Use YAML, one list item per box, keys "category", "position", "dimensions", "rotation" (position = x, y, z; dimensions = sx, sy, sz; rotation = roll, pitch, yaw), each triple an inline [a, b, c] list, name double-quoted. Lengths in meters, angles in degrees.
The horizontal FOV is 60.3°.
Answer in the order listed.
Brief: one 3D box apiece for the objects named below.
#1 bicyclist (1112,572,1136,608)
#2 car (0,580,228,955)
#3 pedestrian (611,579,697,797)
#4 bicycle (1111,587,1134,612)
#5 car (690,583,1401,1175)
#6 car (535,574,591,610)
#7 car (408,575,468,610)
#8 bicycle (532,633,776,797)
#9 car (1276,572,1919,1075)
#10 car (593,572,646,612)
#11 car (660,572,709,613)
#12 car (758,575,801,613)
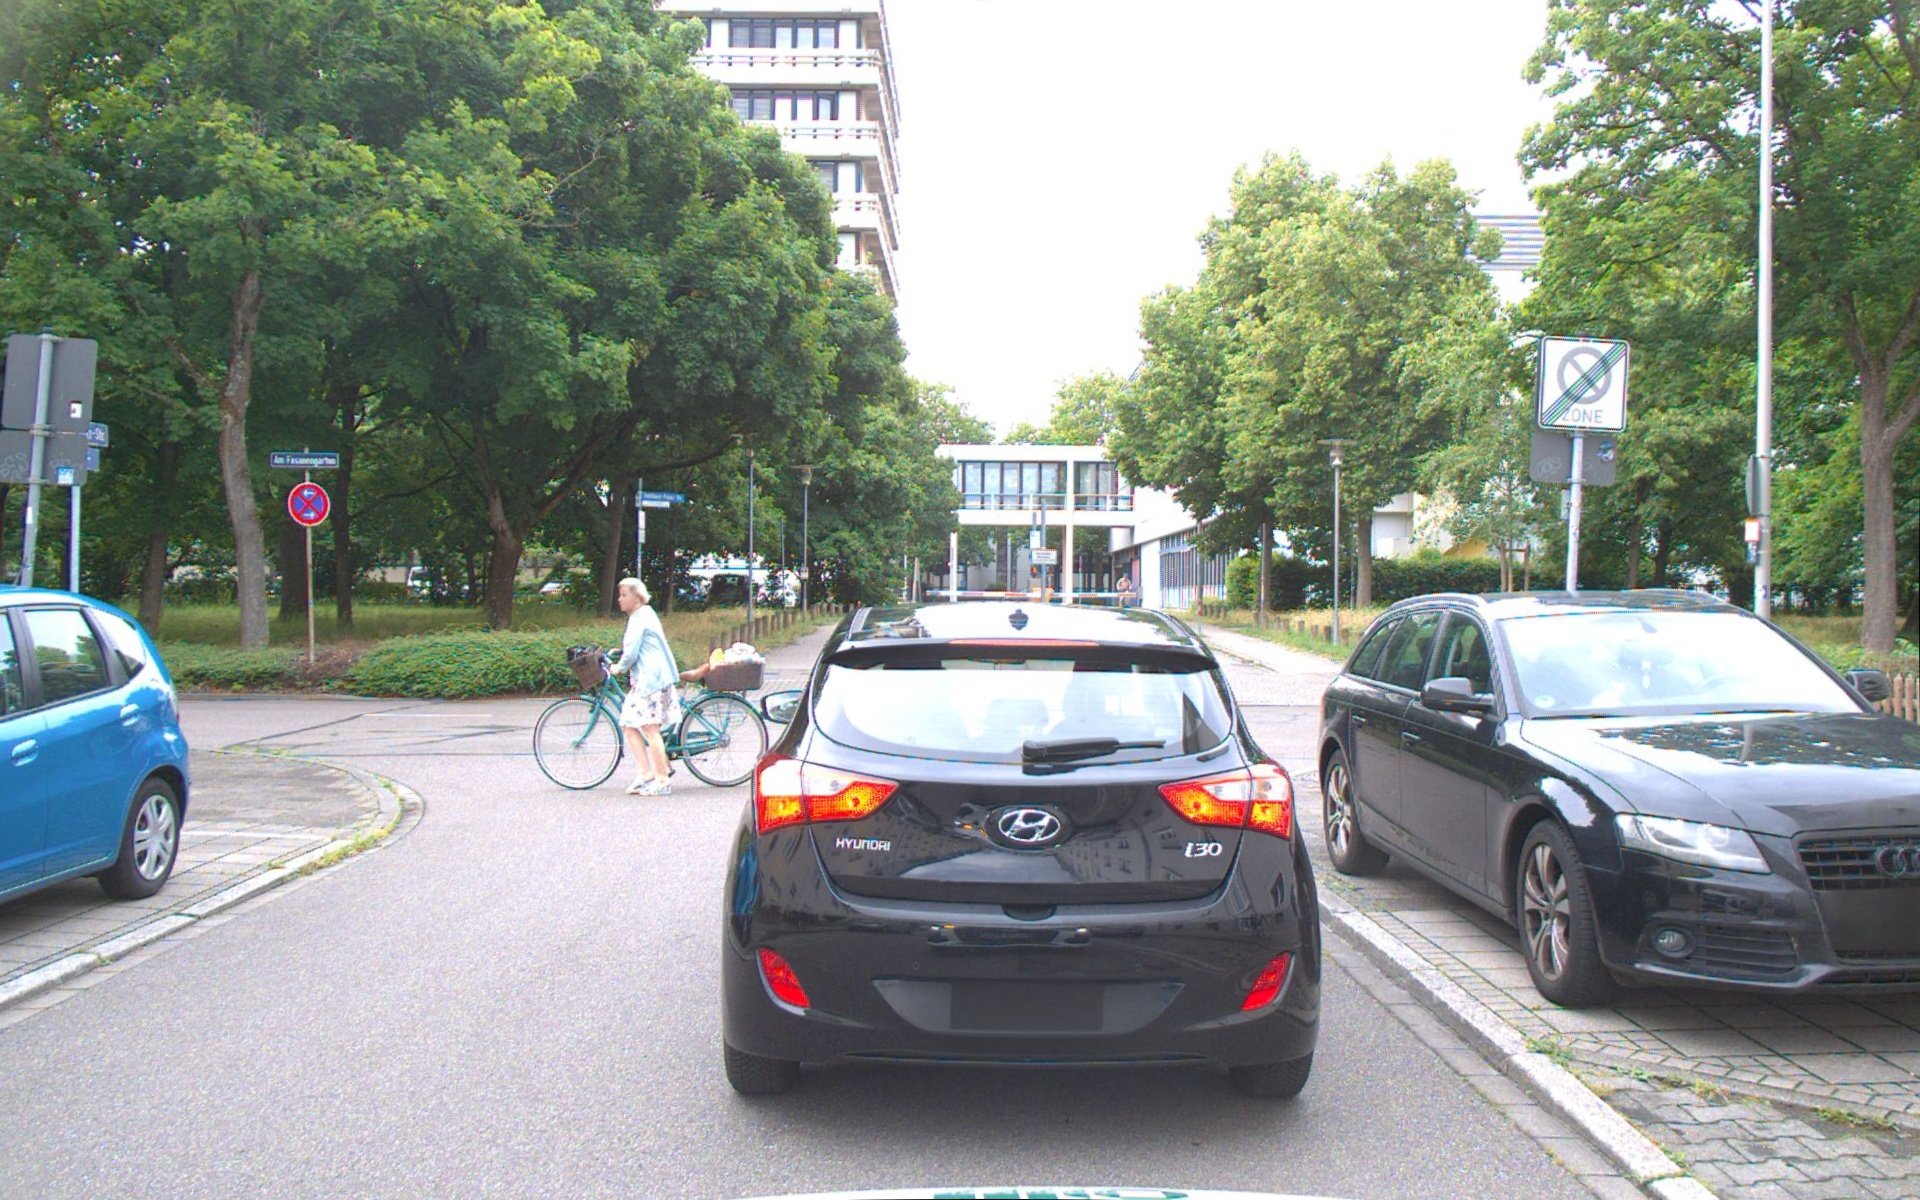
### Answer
- category: "bicyclist"
  position: [7.581, -0.455, 76.530]
  dimensions: [0.996, 1.673, 0.923]
  rotation: [0, 1, 0]
- category: "car"
  position: [-4.752, 0.673, 6.852]
  dimensions: [1.695, 1.488, 3.956]
  rotation: [3, 0, -1]
- category: "pedestrian"
  position: [-2.278, 0.641, 12.351]
  dimensions: [0.555, 1.576, 0.447]
  rotation: [-2, 1, -8]
- category: "bicycle"
  position: [7.504, -0.030, 76.551]
  dimensions: [0.849, 1.093, 2.142]
  rotation: [0, 1, 0]
- category: "car"
  position: [0.134, 0.711, 6.129]
  dimensions: [1.809, 1.488, 3.825]
  rotation: [1, 0, -3]
- category: "car"
  position: [-18.797, -0.382, 78.505]
  dimensions: [1.954, 1.646, 3.996]
  rotation: [0, 0, -5]
- category: "car"
  position: [-24.883, -0.349, 78.940]
  dimensions: [1.880, 1.646, 3.996]
  rotation: [0, 0, -5]
- category: "bicycle"
  position: [-2.335, 0.867, 12.743]
  dimensions: [1.779, 1.139, 0.537]
  rotation: [-2, 1, -9]
- category: "car"
  position: [2.872, 0.639, 7.332]
  dimensions: [1.823, 1.488, 4.723]
  rotation: [-1, 0, -3]
- category: "car"
  position: [-16.131, -0.356, 78.476]
  dimensions: [1.954, 1.758, 3.996]
  rotation: [0, -1, -5]
- category: "car"
  position: [-13.091, -0.321, 78.851]
  dimensions: [1.954, 1.825, 3.996]
  rotation: [0, -1, -5]
- category: "car"
  position: [-8.590, -0.271, 78.980]
  dimensions: [1.954, 1.792, 3.996]
  rotation: [0, 0, -5]
